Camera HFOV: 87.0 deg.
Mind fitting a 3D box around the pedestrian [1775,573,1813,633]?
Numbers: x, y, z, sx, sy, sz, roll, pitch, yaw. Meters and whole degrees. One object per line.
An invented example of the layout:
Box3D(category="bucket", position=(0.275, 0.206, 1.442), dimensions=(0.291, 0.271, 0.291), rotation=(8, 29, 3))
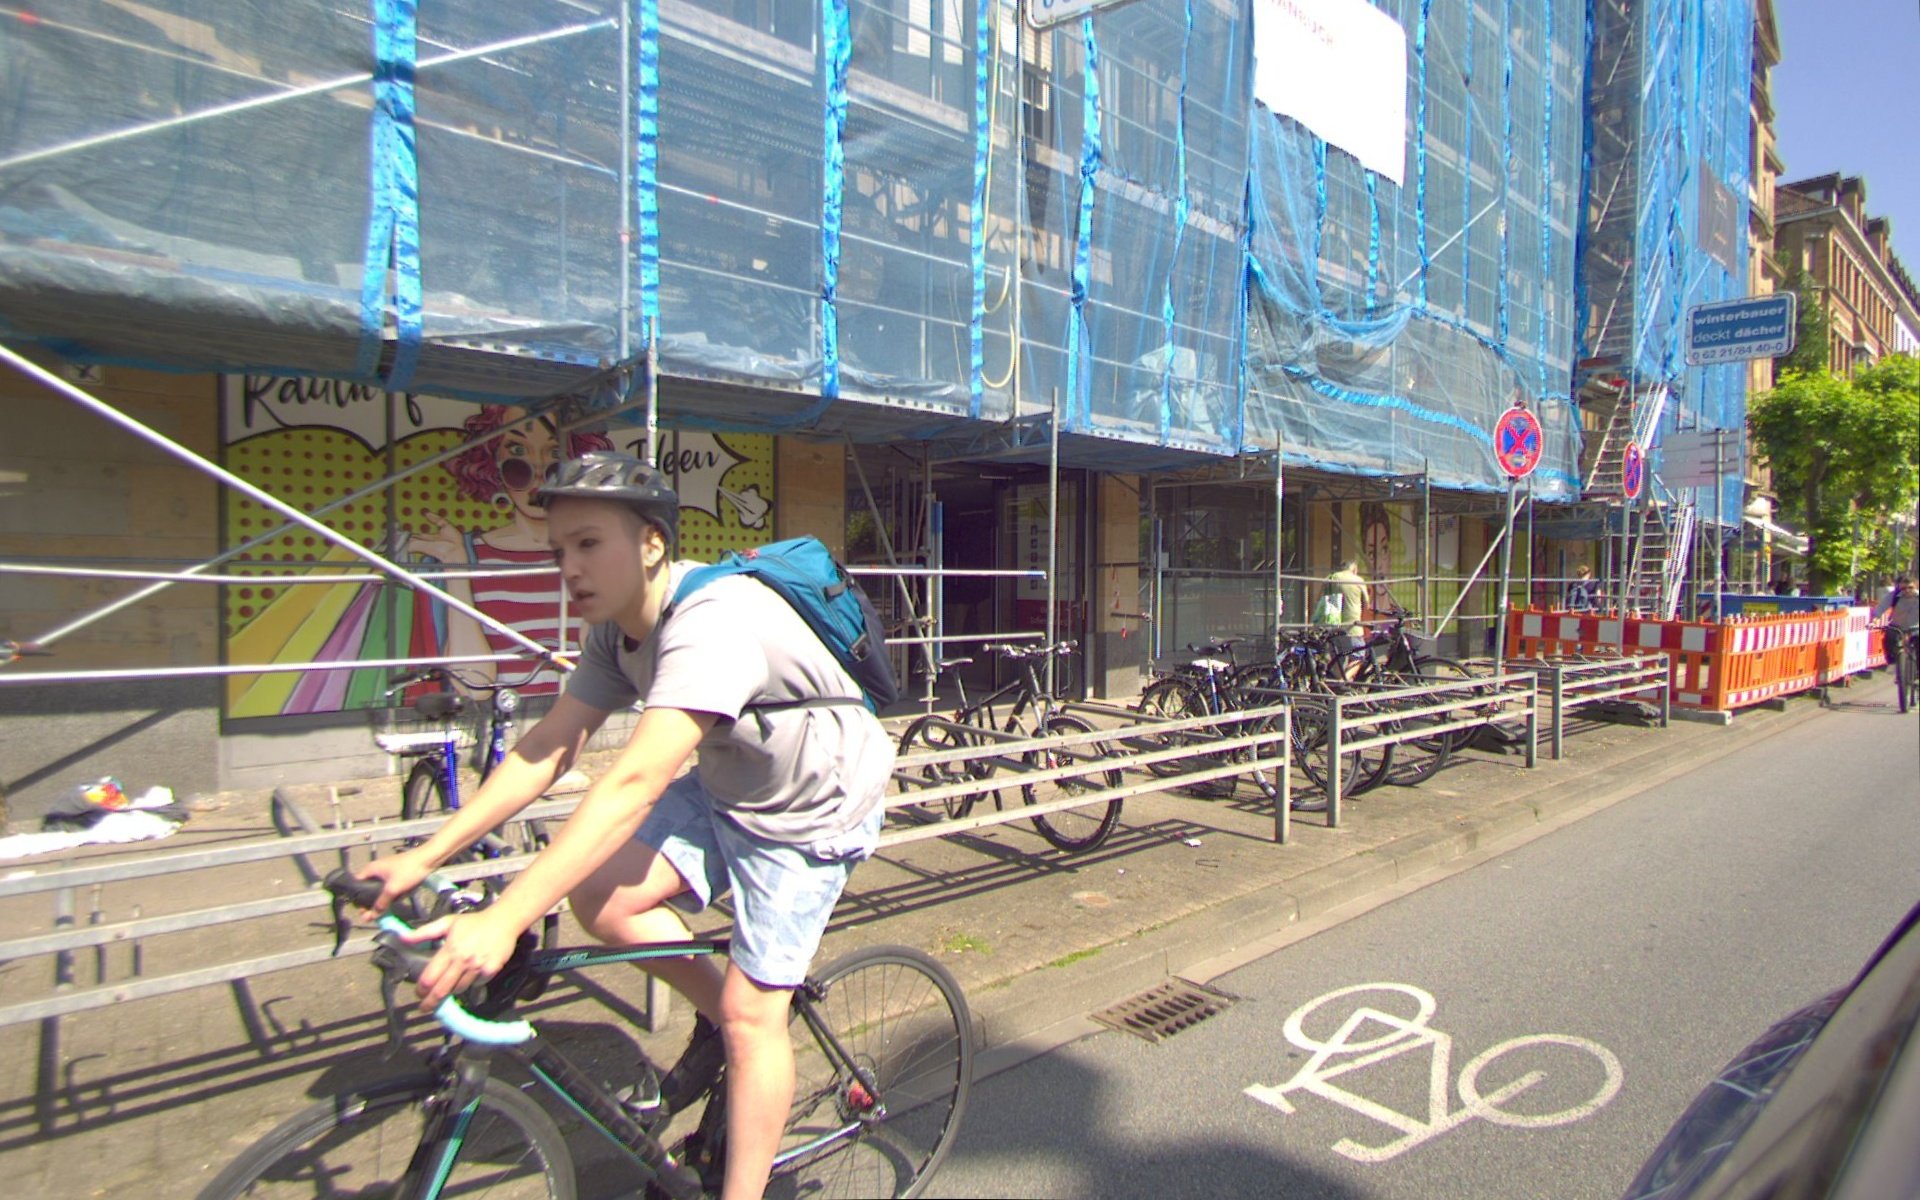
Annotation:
Box3D(category="pedestrian", position=(25.821, 0.070, 31.330), dimensions=(0.967, 1.803, 0.670), rotation=(-1, 2, -36))

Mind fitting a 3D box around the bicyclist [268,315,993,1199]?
Box3D(category="bicyclist", position=(-0.595, 0.362, 1.950), dimensions=(1.123, 1.481, 0.689), rotation=(-1, -1, -42))

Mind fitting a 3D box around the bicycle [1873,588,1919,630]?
Box3D(category="bicycle", position=(27.608, 0.253, 29.246), dimensions=(0.569, 1.196, 1.755), rotation=(-1, 1, -42))

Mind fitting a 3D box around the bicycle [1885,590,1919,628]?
Box3D(category="bicycle", position=(26.907, 0.257, 28.295), dimensions=(0.646, 1.031, 1.755), rotation=(0, 1, 7))

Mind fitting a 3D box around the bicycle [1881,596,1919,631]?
Box3D(category="bicycle", position=(29.014, 0.399, 30.548), dimensions=(0.474, 1.031, 1.755), rotation=(-1, 1, -42))

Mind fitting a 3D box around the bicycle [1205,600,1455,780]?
Box3D(category="bicycle", position=(2.743, 0.607, 7.650), dimensions=(0.598, 1.193, 1.697), rotation=(-1, 0, -39))

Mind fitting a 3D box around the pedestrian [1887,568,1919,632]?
Box3D(category="pedestrian", position=(25.643, -0.013, 27.498), dimensions=(0.656, 1.703, 0.644), rotation=(0, 2, 41))

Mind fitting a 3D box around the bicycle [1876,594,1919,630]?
Box3D(category="bicycle", position=(28.069, 0.355, 29.685), dimensions=(0.547, 1.031, 1.755), rotation=(-1, 1, -42))

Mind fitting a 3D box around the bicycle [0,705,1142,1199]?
Box3D(category="bicycle", position=(-0.612, 0.870, 1.919), dimensions=(2.094, 1.106, 0.735), rotation=(-1, 0, -42))

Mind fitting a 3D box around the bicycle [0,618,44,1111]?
Box3D(category="bicycle", position=(-2.997, 0.667, 2.786), dimensions=(0.598, 1.193, 1.775), rotation=(-1, 0, -39))

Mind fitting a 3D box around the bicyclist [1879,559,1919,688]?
Box3D(category="bicyclist", position=(12.205, 0.283, 12.782), dimensions=(0.764, 1.597, 0.750), rotation=(-1, -1, -40))

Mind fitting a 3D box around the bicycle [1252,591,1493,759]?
Box3D(category="bicycle", position=(3.246, 0.535, 8.094), dimensions=(0.598, 1.193, 1.697), rotation=(-1, 0, -39))

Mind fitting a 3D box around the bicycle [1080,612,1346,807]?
Box3D(category="bicycle", position=(1.628, 0.650, 6.758), dimensions=(0.598, 1.111, 1.697), rotation=(-1, 0, -39))

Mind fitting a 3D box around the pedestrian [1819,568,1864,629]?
Box3D(category="pedestrian", position=(27.725, -0.064, 31.832), dimensions=(0.874, 1.871, 0.818), rotation=(-1, 3, -33))

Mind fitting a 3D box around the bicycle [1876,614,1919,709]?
Box3D(category="bicycle", position=(12.179, 0.742, 12.719), dimensions=(1.864, 1.107, 0.735), rotation=(-1, -1, -41))

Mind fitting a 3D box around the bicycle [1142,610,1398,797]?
Box3D(category="bicycle", position=(2.134, 0.653, 7.164), dimensions=(0.598, 1.111, 1.697), rotation=(-1, 2, -39))

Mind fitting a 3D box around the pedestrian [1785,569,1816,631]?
Box3D(category="pedestrian", position=(23.872, -0.011, 28.737), dimensions=(0.526, 1.703, 0.500), rotation=(-1, 3, -32))

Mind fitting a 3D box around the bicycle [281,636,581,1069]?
Box3D(category="bicycle", position=(-1.941, 0.711, 3.581), dimensions=(0.598, 1.101, 1.697), rotation=(-1, 0, -39))

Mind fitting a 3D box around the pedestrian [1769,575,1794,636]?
Box3D(category="pedestrian", position=(23.195, 0.139, 28.574), dimensions=(0.467, 1.703, 0.382), rotation=(-1, 2, -32))

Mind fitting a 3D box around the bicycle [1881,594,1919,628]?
Box3D(category="bicycle", position=(29.396, 0.331, 30.984), dimensions=(0.474, 1.031, 1.755), rotation=(-1, 1, -42))

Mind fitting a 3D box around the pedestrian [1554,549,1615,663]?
Box3D(category="pedestrian", position=(10.172, 0.097, 16.476), dimensions=(0.638, 1.799, 0.640), rotation=(-1, -1, -40))

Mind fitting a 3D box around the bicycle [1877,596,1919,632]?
Box3D(category="bicycle", position=(28.555, 0.410, 30.156), dimensions=(0.577, 1.030, 1.755), rotation=(-1, 2, -42))

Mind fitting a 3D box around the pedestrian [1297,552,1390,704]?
Box3D(category="pedestrian", position=(4.264, 0.293, 11.255), dimensions=(0.752, 1.621, 0.644), rotation=(-1, -1, -40))

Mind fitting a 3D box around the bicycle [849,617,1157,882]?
Box3D(category="bicycle", position=(0.151, 0.672, 5.306), dimensions=(0.598, 1.123, 1.742), rotation=(-1, 0, -39))
